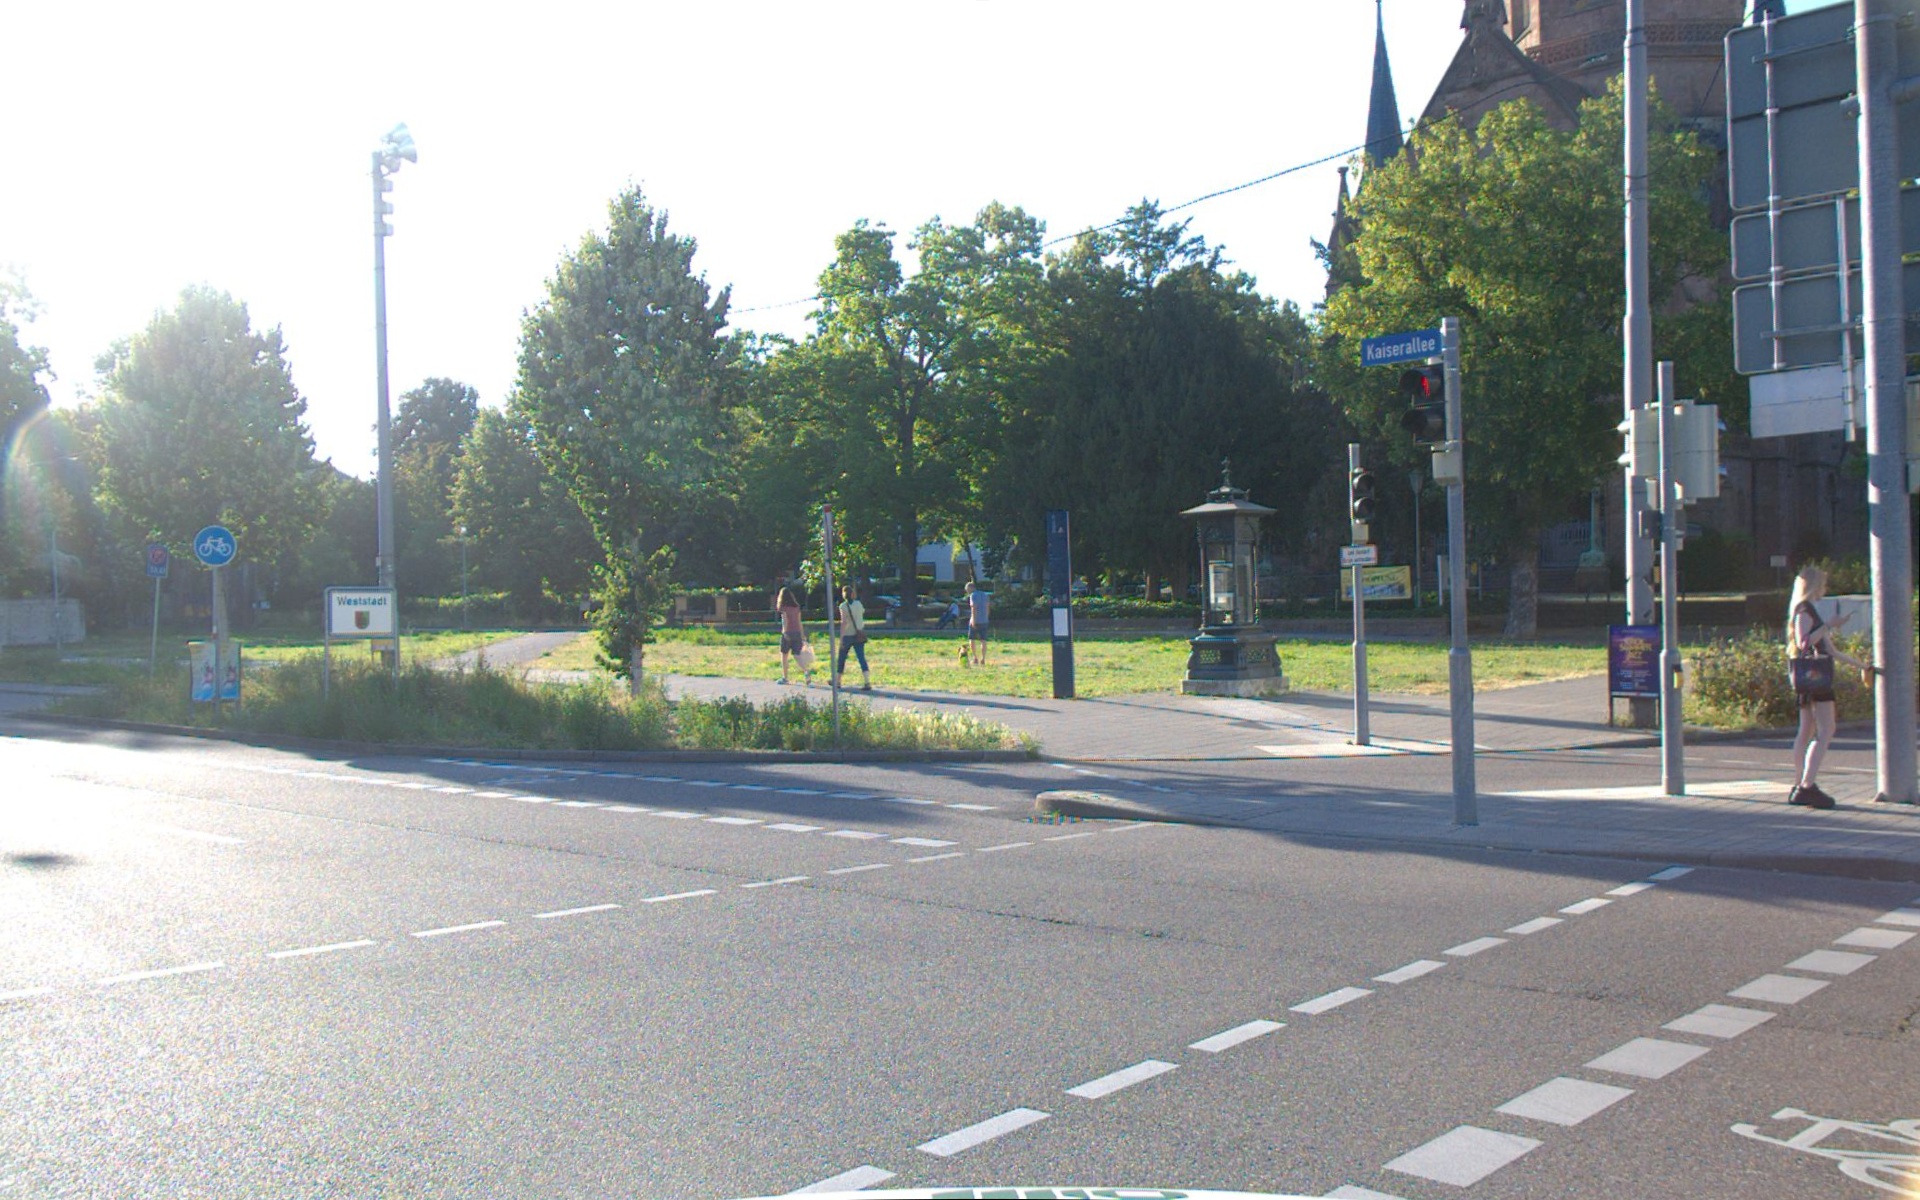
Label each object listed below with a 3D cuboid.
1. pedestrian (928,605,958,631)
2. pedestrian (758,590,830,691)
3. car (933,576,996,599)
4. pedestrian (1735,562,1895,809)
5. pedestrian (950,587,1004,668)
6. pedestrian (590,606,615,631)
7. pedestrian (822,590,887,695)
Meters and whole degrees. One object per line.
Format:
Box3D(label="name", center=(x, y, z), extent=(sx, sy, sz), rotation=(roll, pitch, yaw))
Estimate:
Box3D(label="pedestrian", center=(-0.662, 0.710, 64.538), extent=(0.785, 0.970, 1.174), rotation=(-1, 1, 22))
Box3D(label="pedestrian", center=(-2.935, 0.693, 29.192), extent=(0.837, 1.726, 1.002), rotation=(-2, 1, -40))
Box3D(label="car", center=(0.315, -0.934, 126.182), extent=(4.370, 1.599, 1.995), rotation=(-2, 0, 32))
Box3D(label="pedestrian", center=(6.482, 0.617, 12.531), extent=(0.798, 1.769, 0.961), rotation=(-2, 0, 45))
Box3D(label="pedestrian", center=(0.368, 0.588, 36.183), extent=(0.831, 1.726, 1.009), rotation=(-1, 1, -25))
Box3D(label="pedestrian", center=(-17.380, 0.899, 80.385), extent=(0.830, 1.208, 0.808), rotation=(-2, 0, 42))
Box3D(label="pedestrian", center=(-1.779, 0.697, 27.898), extent=(0.702, 1.726, 0.884), rotation=(-2, 1, -37))
